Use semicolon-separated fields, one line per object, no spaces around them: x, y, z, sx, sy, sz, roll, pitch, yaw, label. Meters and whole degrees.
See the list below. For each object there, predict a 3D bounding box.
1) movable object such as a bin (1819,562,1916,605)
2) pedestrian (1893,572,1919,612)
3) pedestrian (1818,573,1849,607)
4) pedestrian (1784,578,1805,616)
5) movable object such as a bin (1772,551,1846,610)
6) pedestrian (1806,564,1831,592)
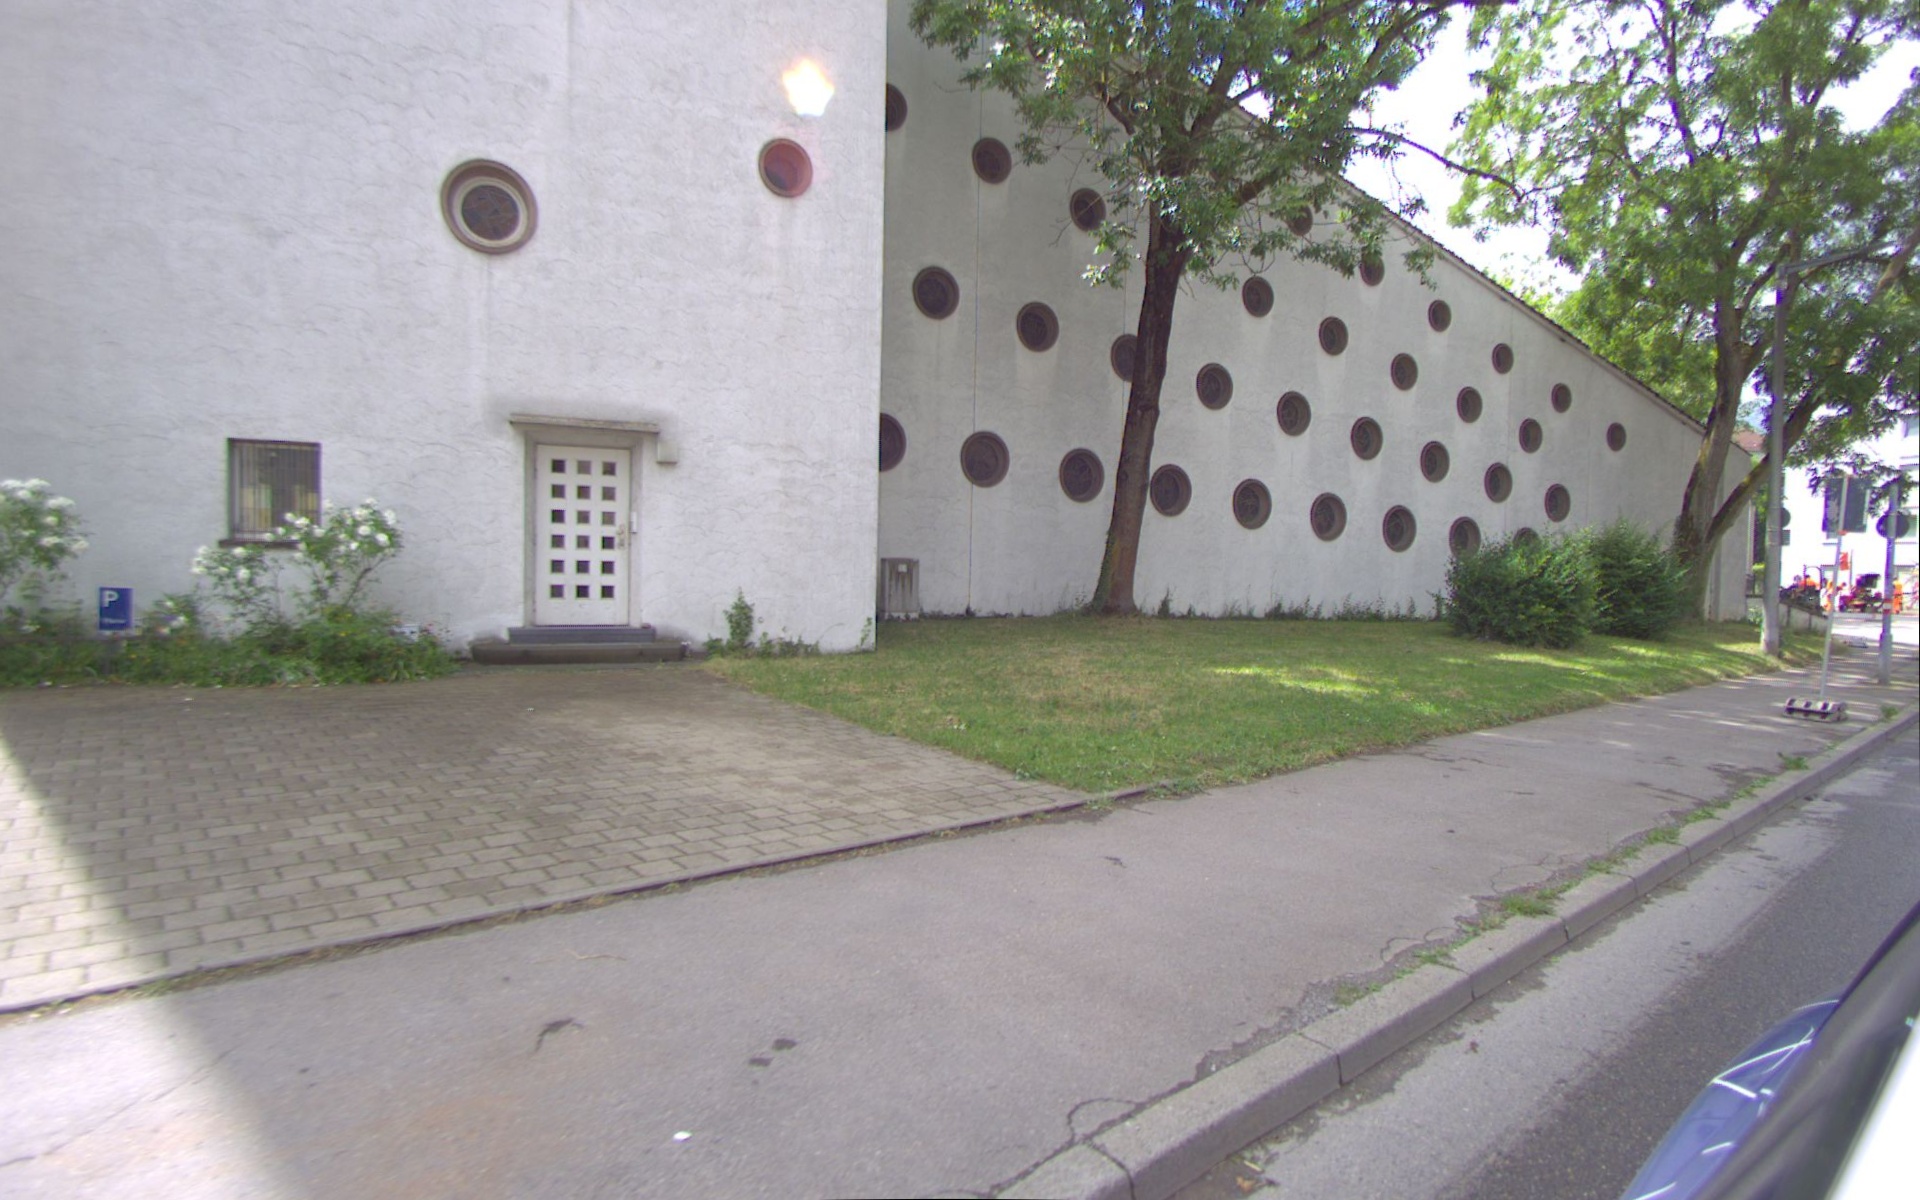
44.889;-0.840;50.138;1.961;2.038;2.971;1;2;-3;movable object such as a bin
45.291;-0.395;48.293;0.767;1.862;0.770;1;1;-15;pedestrian
44.854;-0.519;51.993;0.738;1.737;0.920;0;1;-7;pedestrian
38.376;-0.138;46.522;0.461;1.702;0.560;-1;2;-9;pedestrian
38.724;-0.910;46.216;1.295;2.625;2.364;0;2;-2;movable object such as a bin
38.490;-0.994;45.391;0.540;1.231;0.618;1;1;-2;pedestrian
